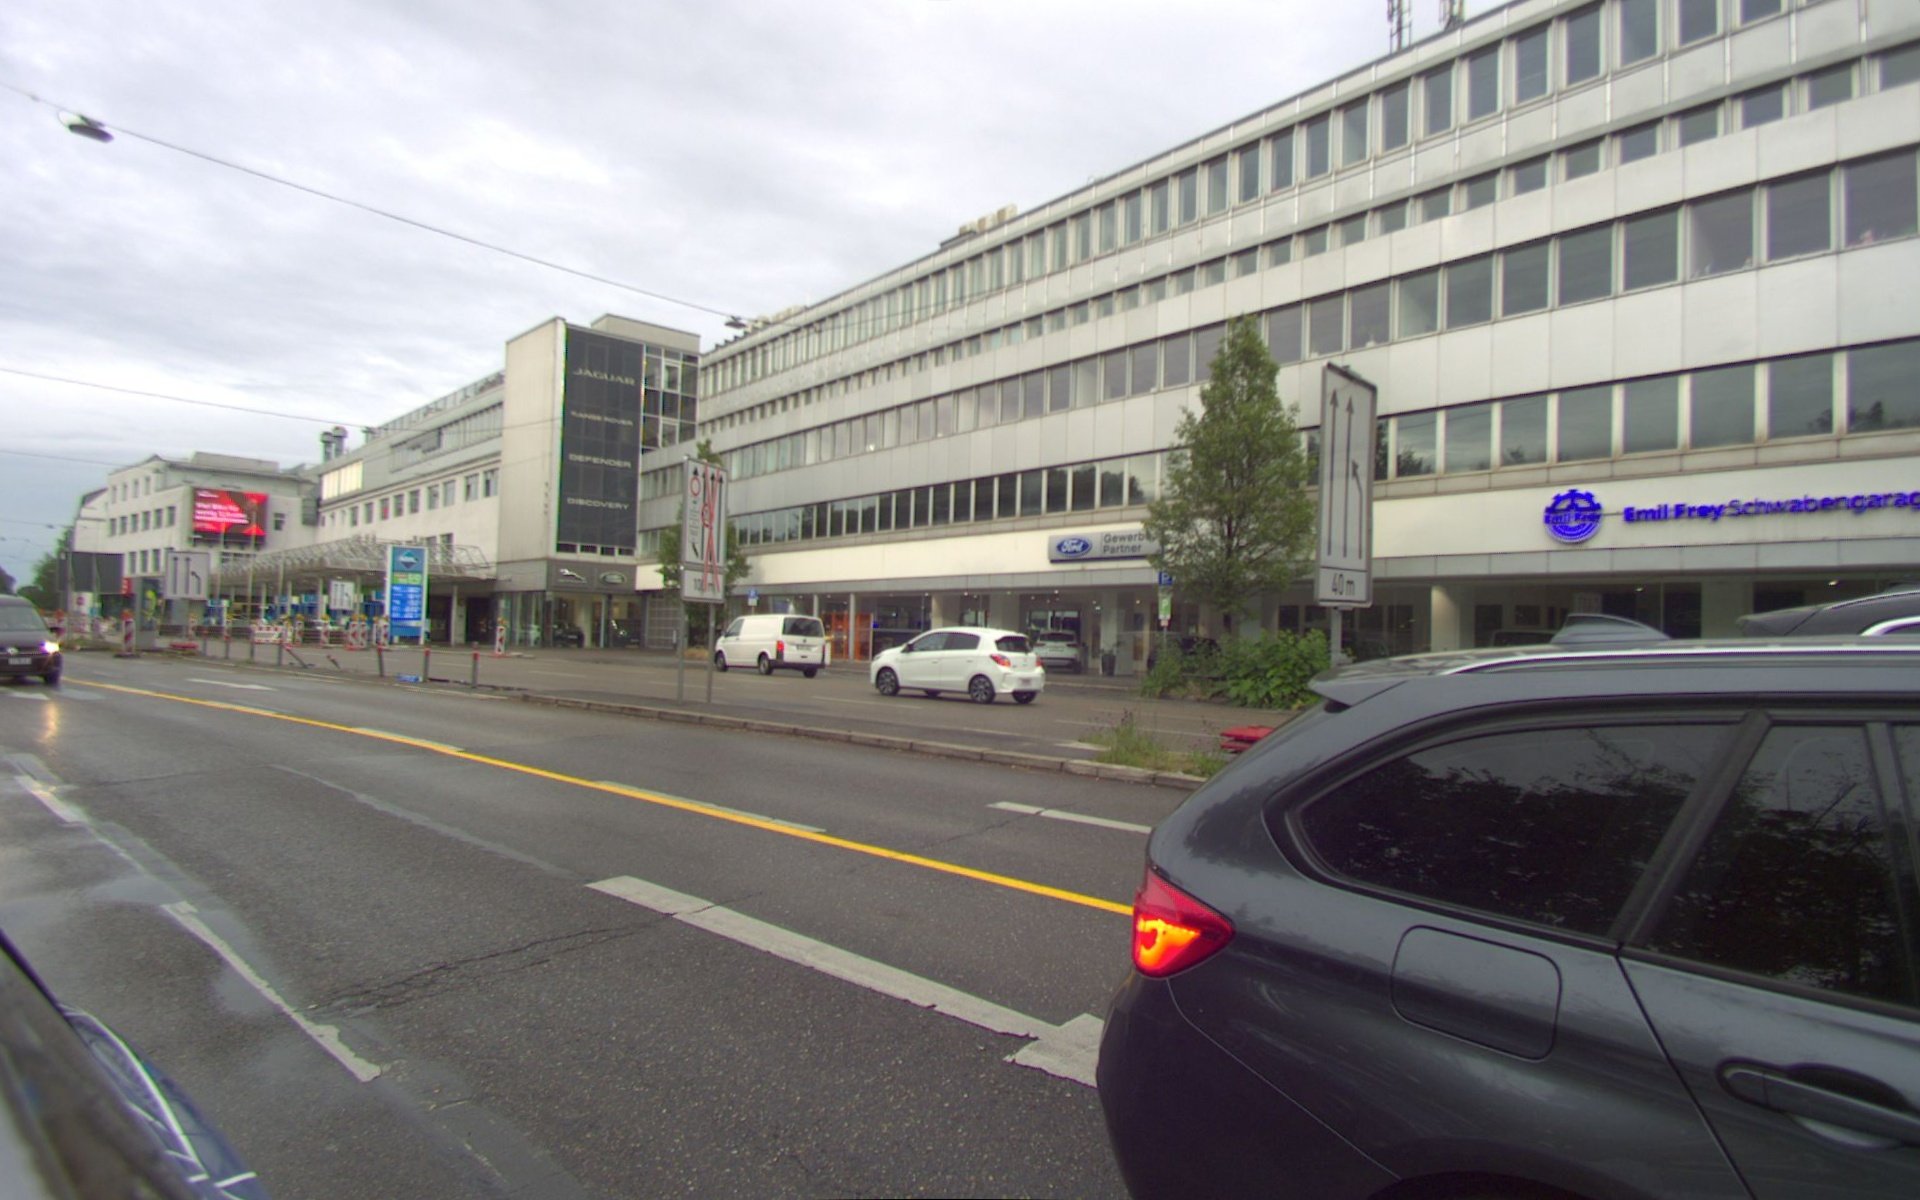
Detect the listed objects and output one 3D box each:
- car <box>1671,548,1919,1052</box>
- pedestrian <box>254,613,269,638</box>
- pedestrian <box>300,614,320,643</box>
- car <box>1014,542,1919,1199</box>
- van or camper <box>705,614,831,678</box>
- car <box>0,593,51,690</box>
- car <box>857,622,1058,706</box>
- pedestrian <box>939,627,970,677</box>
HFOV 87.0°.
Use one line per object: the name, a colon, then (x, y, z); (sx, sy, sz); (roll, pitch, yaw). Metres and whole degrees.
car: (4.901, 0.639, 2.927); (4.445, 1.668, 1.789); (-1, 0, 44)
pedestrian: (-51.352, 1.875, 74.415); (0.881, 1.828, 0.943); (-1, 0, -35)
pedestrian: (-42.583, 1.865, 66.315); (0.882, 1.828, 0.942); (-1, 0, -45)
car: (2.345, 0.692, 1.072); (4.476, 1.469, 1.757); (-1, -3, 42)
van or camper: (-6.348, 1.452, 33.089); (1.912, 1.938, 4.691); (2, -3, -41)
car: (-19.980, 0.813, 20.510); (4.429, 1.828, 1.880); (-1, 0, 42)
car: (-0.085, 1.299, 20.625); (3.758, 1.544, 1.784); (-1, -6, 37)
pedestrian: (-0.188, 1.910, 37.524); (0.750, 1.788, 0.865); (-1, 0, -42)
